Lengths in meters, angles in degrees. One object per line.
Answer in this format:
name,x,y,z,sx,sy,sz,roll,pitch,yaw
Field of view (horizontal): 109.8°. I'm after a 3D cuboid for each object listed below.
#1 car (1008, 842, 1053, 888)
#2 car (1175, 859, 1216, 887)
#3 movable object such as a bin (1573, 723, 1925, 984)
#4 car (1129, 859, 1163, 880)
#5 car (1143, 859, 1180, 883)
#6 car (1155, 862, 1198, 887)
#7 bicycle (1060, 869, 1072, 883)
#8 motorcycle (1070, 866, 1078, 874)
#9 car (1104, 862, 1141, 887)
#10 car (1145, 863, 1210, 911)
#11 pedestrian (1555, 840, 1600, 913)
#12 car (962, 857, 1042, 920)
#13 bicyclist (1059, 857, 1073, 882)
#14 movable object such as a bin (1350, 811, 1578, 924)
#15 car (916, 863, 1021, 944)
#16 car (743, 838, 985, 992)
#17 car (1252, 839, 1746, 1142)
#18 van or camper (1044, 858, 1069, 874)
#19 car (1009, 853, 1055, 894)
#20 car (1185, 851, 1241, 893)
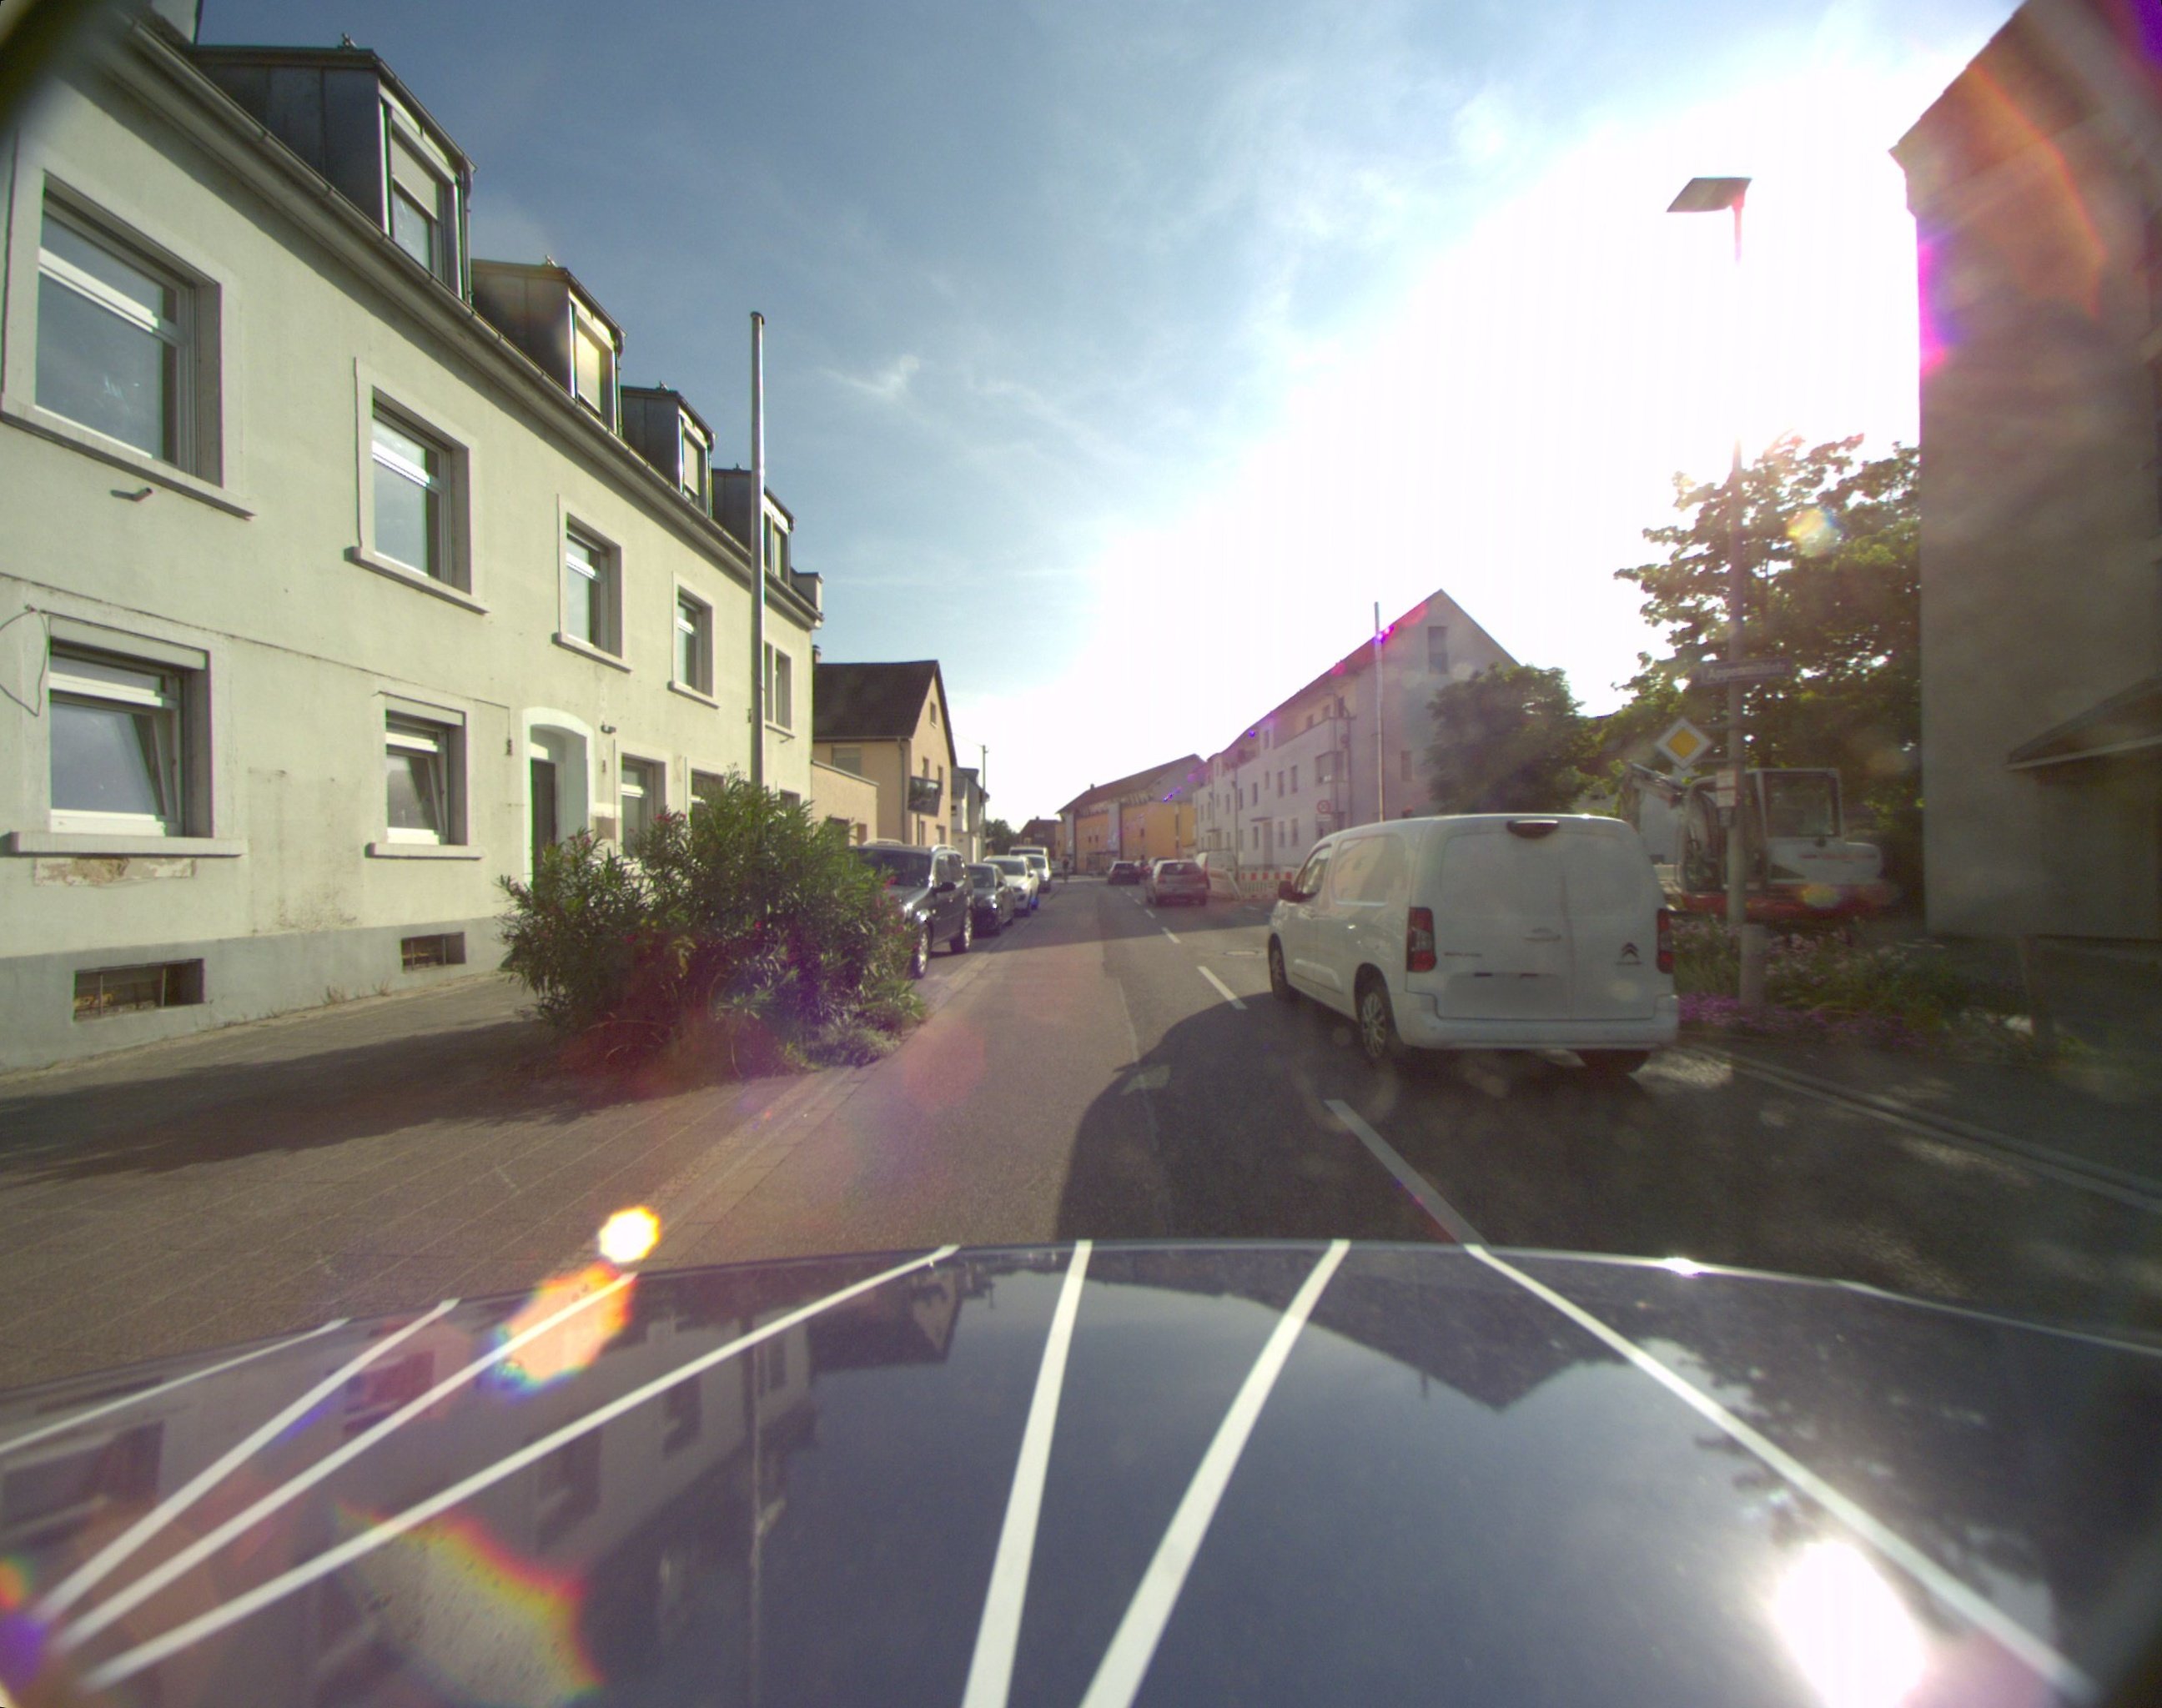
car,-2.701,0.610,41.518,2.180,2.313,4.997,1,-1,-1
car,6.379,1.048,42.651,1.497,1.456,3.513,-2,-1,-3
movable object such as a bin,9.275,0.021,11.062,1.652,3.119,3.900,0,-1,0
car,5.018,1.222,59.392,1.732,1.469,4.501,-2,-1,-6
car,5.687,1.186,54.327,1.732,1.612,4.261,-1,0,-6
car,6.073,1.256,48.659,1.732,1.469,4.261,-3,0,-6
bicycle,-1.028,1.473,51.504,0.680,0.849,2.026,-1,0,-6
motorcycle,-0.965,2.193,104.277,0.584,1.175,1.875,-1,-1,-19
car,2.518,1.227,46.523,1.835,1.411,4.208,0,0,-3
car,3.100,1.029,25.066,1.622,1.446,3.685,0,0,-1
pedestrian,14.093,0.627,21.593,0.766,2.006,0.894,-1,0,13
car,-2.206,0.928,22.394,1.816,1.673,4.477,1,0,1
bicyclist,-1.036,1.042,51.622,0.846,1.679,0.877,-1,0,-7
movable object such as a bin,10.725,0.341,21.434,5.516,2.883,2.110,-2,-1,-11
car,-2.384,0.996,17.147,1.593,1.519,4.614,1,0,1
car,-2.949,0.776,11.571,2.080,1.845,4.612,1,-1,4
car,2.932,0.815,6.619,1.927,1.756,4.338,1,0,0
van or camper,-3.149,1.551,97.818,2.001,1.991,4.914,0,0,-17
car,-2.207,0.884,35.336,1.782,1.730,4.483,2,0,0
car,6.500,0.885,37.908,1.732,1.949,4.438,-1,-1,-4
